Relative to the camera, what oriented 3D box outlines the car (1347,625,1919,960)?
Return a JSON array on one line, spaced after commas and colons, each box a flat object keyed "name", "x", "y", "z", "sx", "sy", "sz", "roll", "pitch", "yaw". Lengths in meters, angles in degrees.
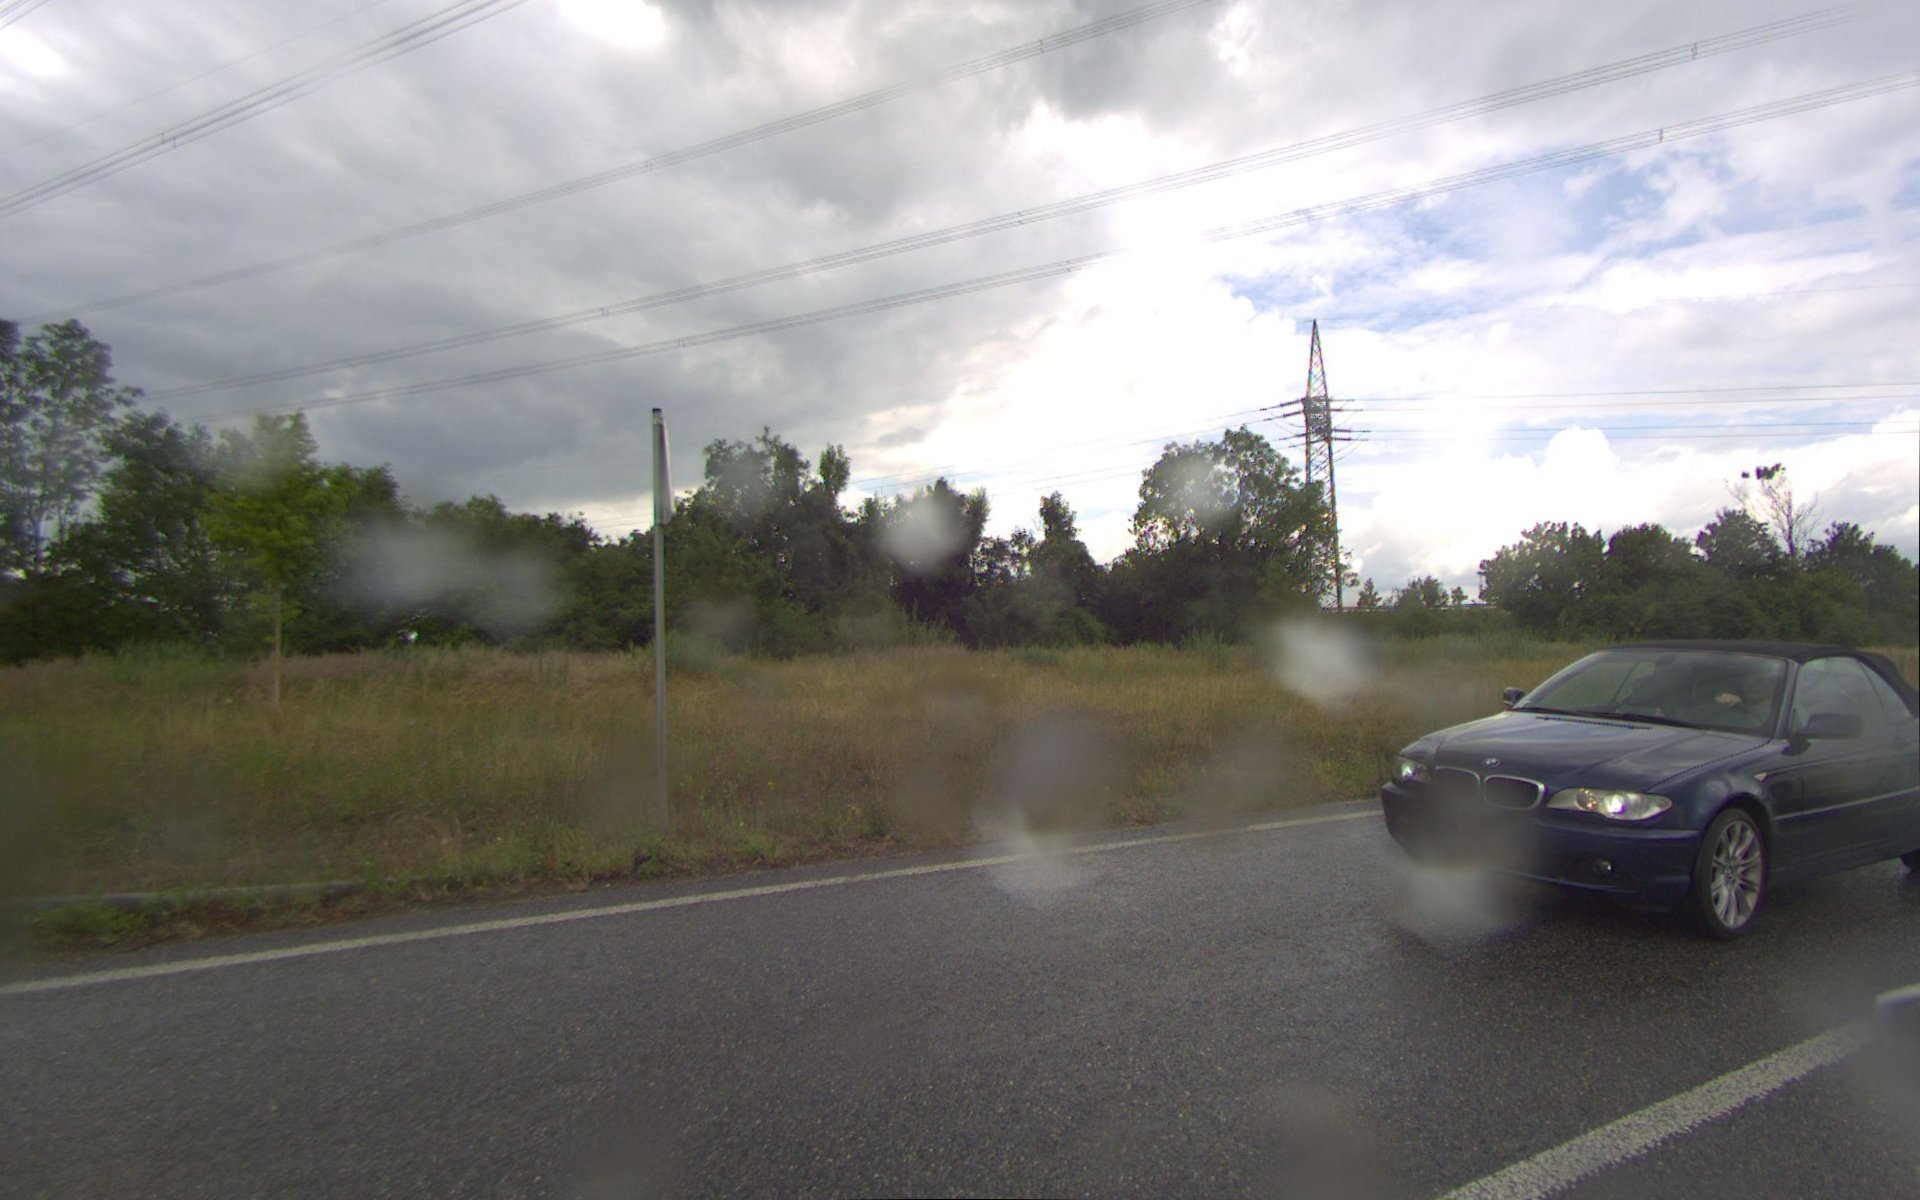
[{"name": "car", "x": 4.481, "y": 0.883, "z": 6.064, "sx": 4.265, "sy": 1.415, "sz": 1.623, "roll": 1, "pitch": -1, "yaw": -28}]
